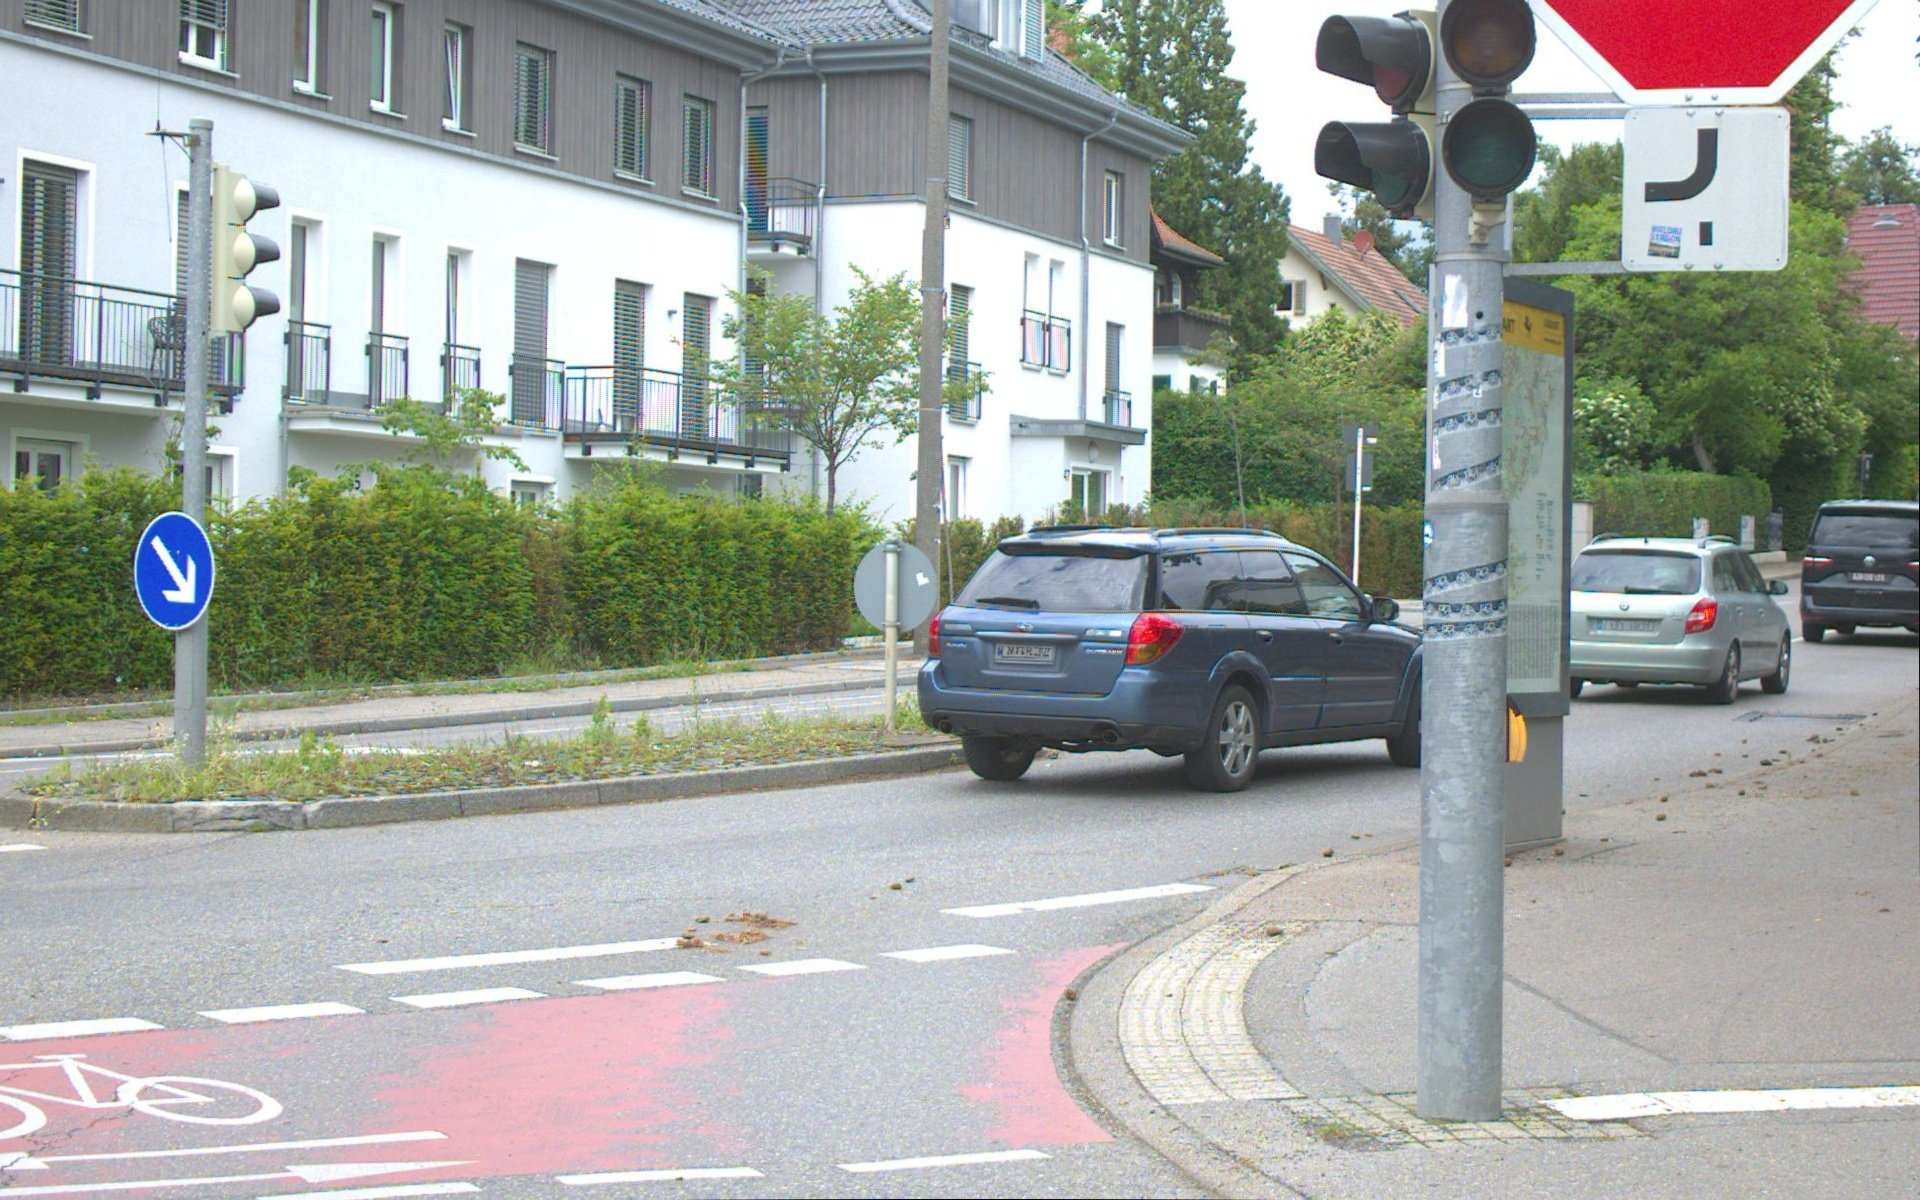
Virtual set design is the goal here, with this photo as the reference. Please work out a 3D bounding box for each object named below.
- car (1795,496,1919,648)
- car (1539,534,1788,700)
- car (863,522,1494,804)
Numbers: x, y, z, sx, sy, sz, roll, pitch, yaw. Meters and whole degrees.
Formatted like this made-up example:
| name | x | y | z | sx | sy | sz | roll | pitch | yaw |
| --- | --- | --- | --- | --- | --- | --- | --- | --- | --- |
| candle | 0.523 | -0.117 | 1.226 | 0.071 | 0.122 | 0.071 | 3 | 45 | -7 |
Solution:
| name | x | y | z | sx | sy | sz | roll | pitch | yaw |
| --- | --- | --- | --- | --- | --- | --- | --- | --- | --- |
| car | 12.563 | -0.409 | 46.217 | 1.921 | 1.887 | 4.903 | 3 | 2 | 21 |
| car | 6.532 | 0.119 | 31.663 | 1.695 | 1.425 | 3.745 | 0 | 1 | 20 |
| car | 1.480 | 0.295 | 21.090 | 1.803 | 1.522 | 4.734 | 0 | 1 | 32 |
